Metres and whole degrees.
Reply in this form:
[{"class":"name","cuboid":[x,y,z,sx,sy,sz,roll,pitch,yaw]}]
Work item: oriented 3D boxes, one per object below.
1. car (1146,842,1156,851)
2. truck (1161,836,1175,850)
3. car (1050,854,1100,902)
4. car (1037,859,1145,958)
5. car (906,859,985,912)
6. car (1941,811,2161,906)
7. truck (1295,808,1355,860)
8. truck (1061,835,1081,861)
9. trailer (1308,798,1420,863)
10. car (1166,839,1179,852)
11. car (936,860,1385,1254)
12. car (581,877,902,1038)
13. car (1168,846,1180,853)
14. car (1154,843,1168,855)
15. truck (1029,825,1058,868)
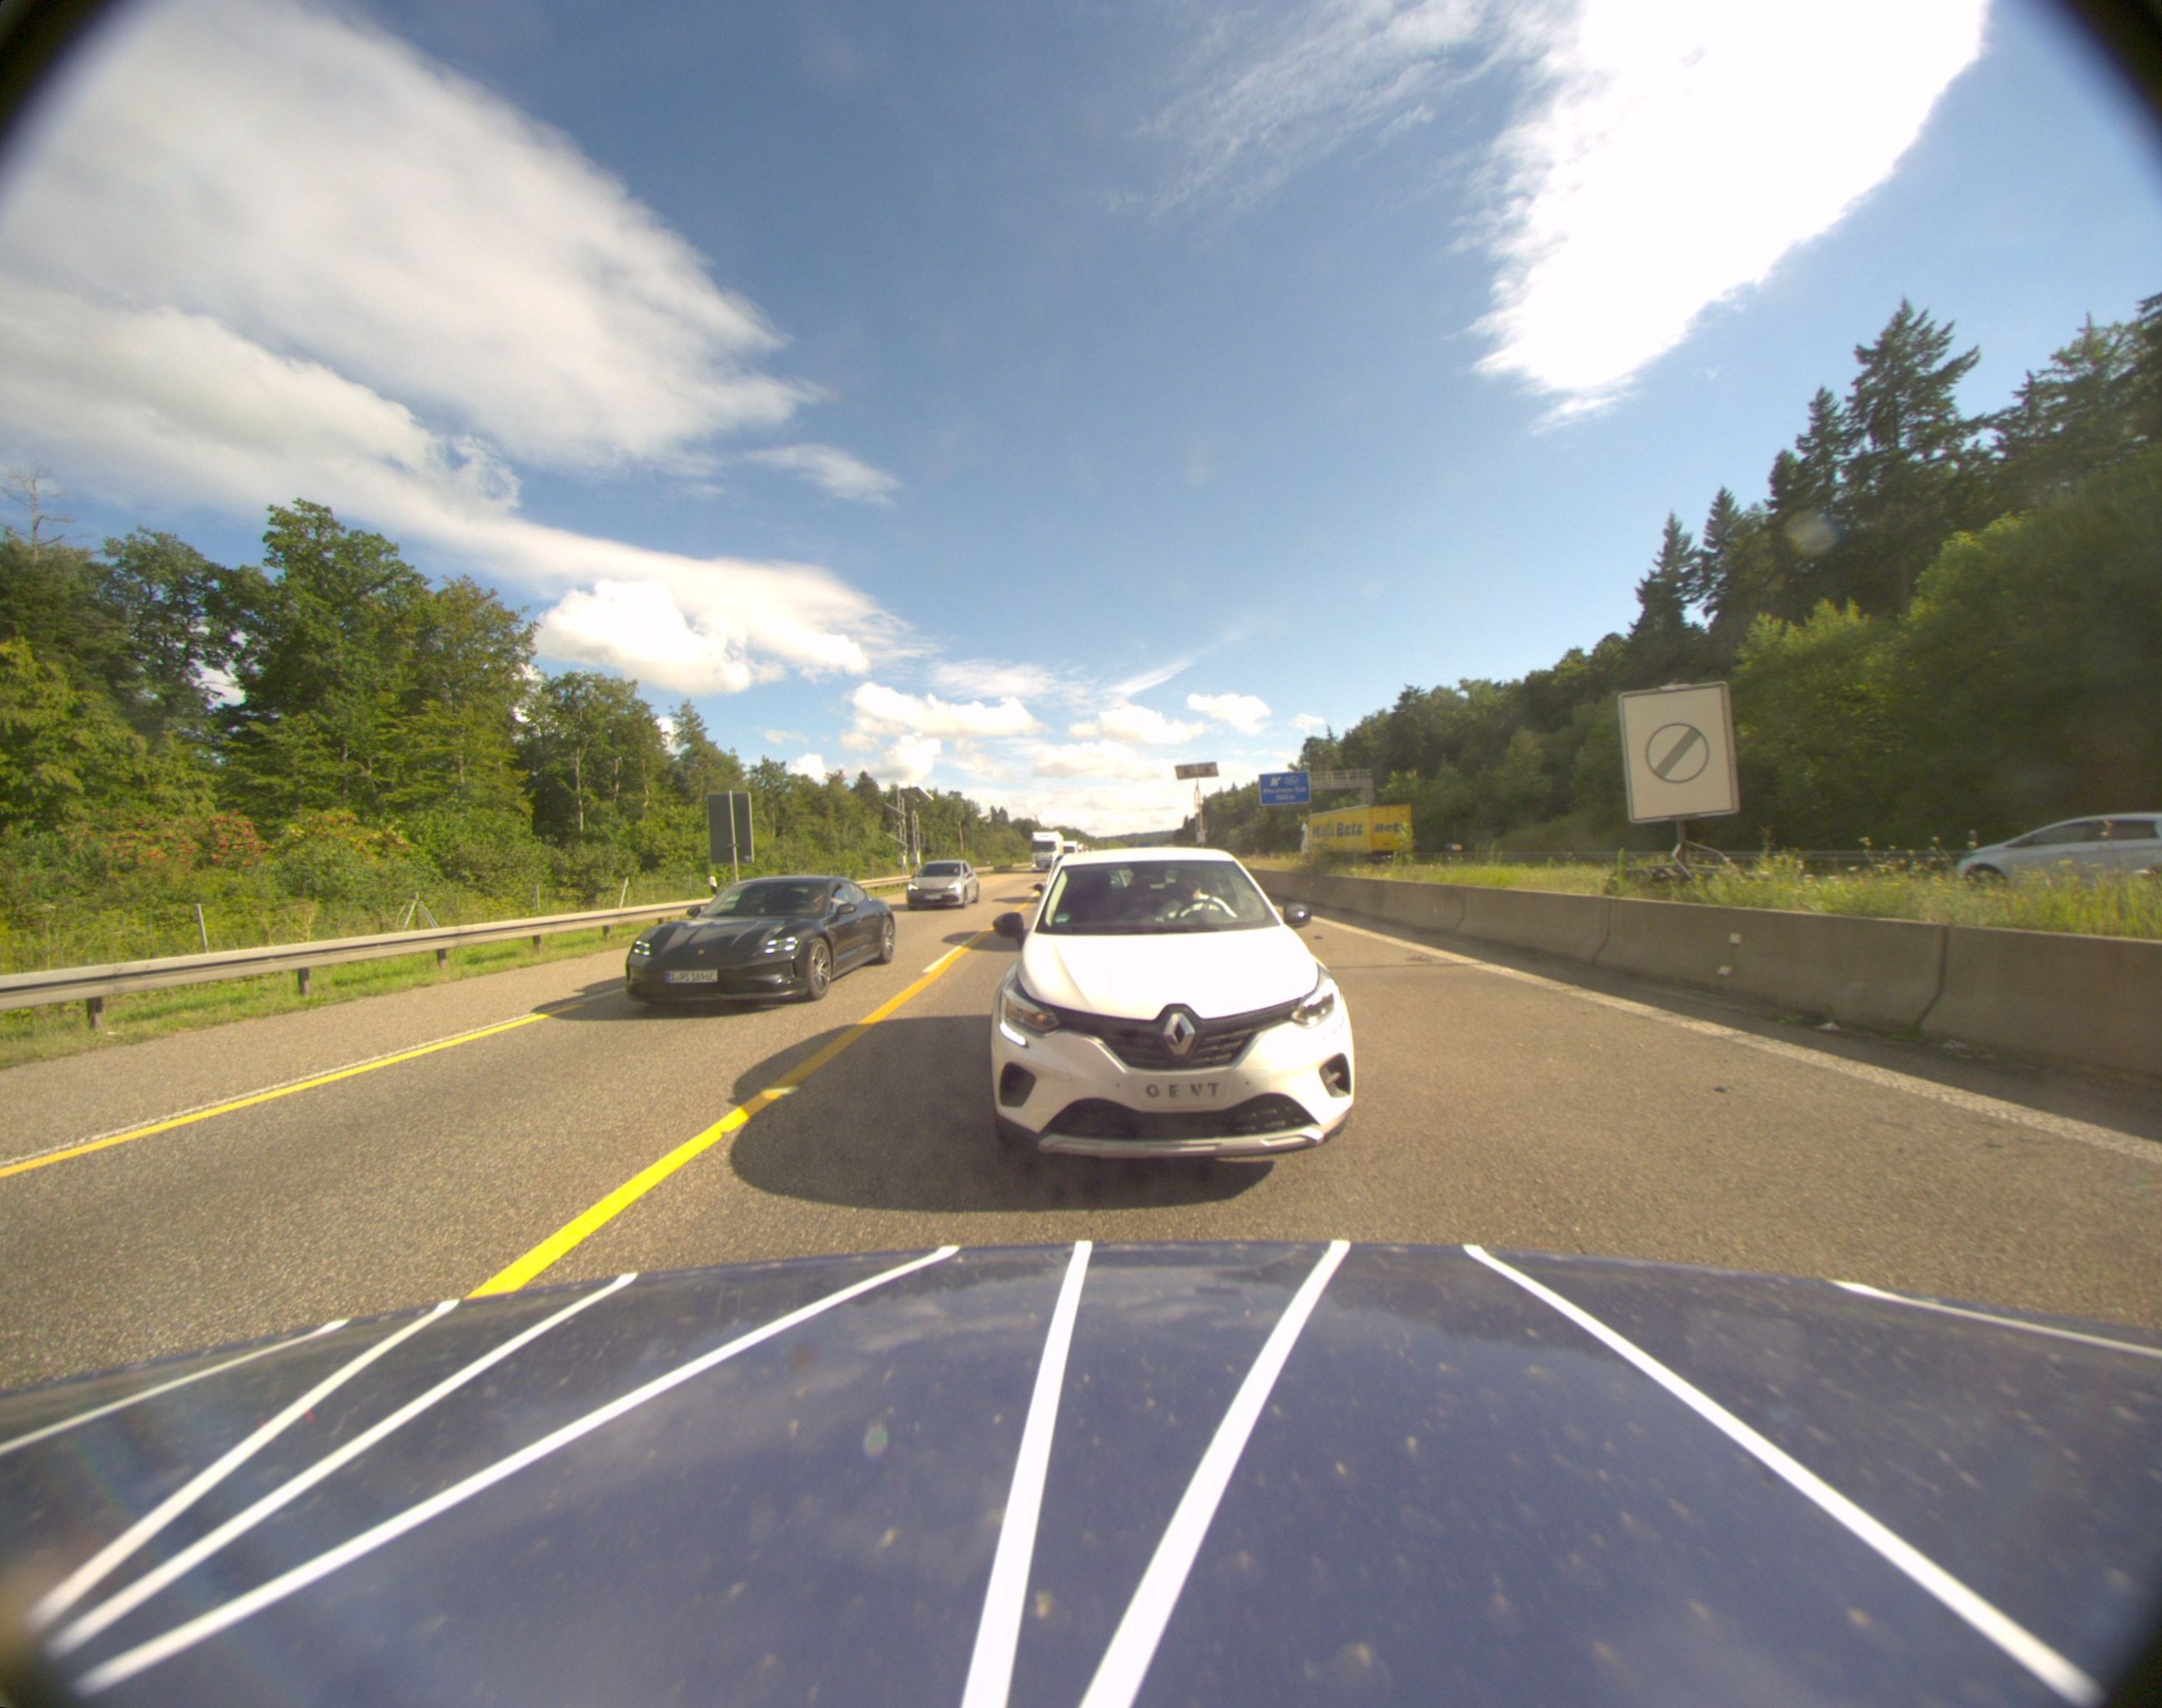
[{"class":"car","cuboid":[21.017,-2.231,228.607,2.165,2.437,6.330,-4,1,1]},{"class":"truck","cuboid":[25.422,-3.235,222.376,2.807,3.969,10.185,-2,0,1]},{"class":"car","cuboid":[-0.165,0.796,27.241,1.633,1.548,3.754,-2,0,1]},{"class":"car","cuboid":[0.196,0.890,14.033,1.692,1.471,3.754,-2,1,1]},{"class":"car","cuboid":[-4.348,0.970,24.978,1.762,1.471,3.967,-2,1,1]},{"class":"car","cuboid":[18.731,0.033,13.773,1.791,1.551,3.999,-2,1,1]},{"class":"truck","cuboid":[19.705,-1.592,61.720,2.834,3.886,5.948,-2,1,1]},{"class":"truck","cuboid":[-1.674,-1.003,127.942,2.640,4.093,8.196,-2,0,3]},{"class":"trailer","cuboid":[19.610,-1.561,53.981,2.834,3.900,13.938,-2,1,1]},{"class":"car","cuboid":[24.436,-2.380,202.612,2.493,3.351,7.451,-2,1,0]},{"class":"car","cuboid":[0.365,0.883,5.158,1.840,1.528,3.882,-2,1,1]},{"class":"car","cuboid":[-3.826,1.075,9.626,1.933,1.342,4.477,-2,0,1]},{"class":"car","cuboid":[19.158,-0.968,157.093,1.963,1.355,4.287,-2,1,1]},{"class":"car","cuboid":[14.957,-0.977,141.864,1.998,2.002,4.831,-2,1,1]},{"class":"truck","cuboid":[-3.874,-0.726,77.563,2.642,4.092,8.192,-2,0,-3]}]
